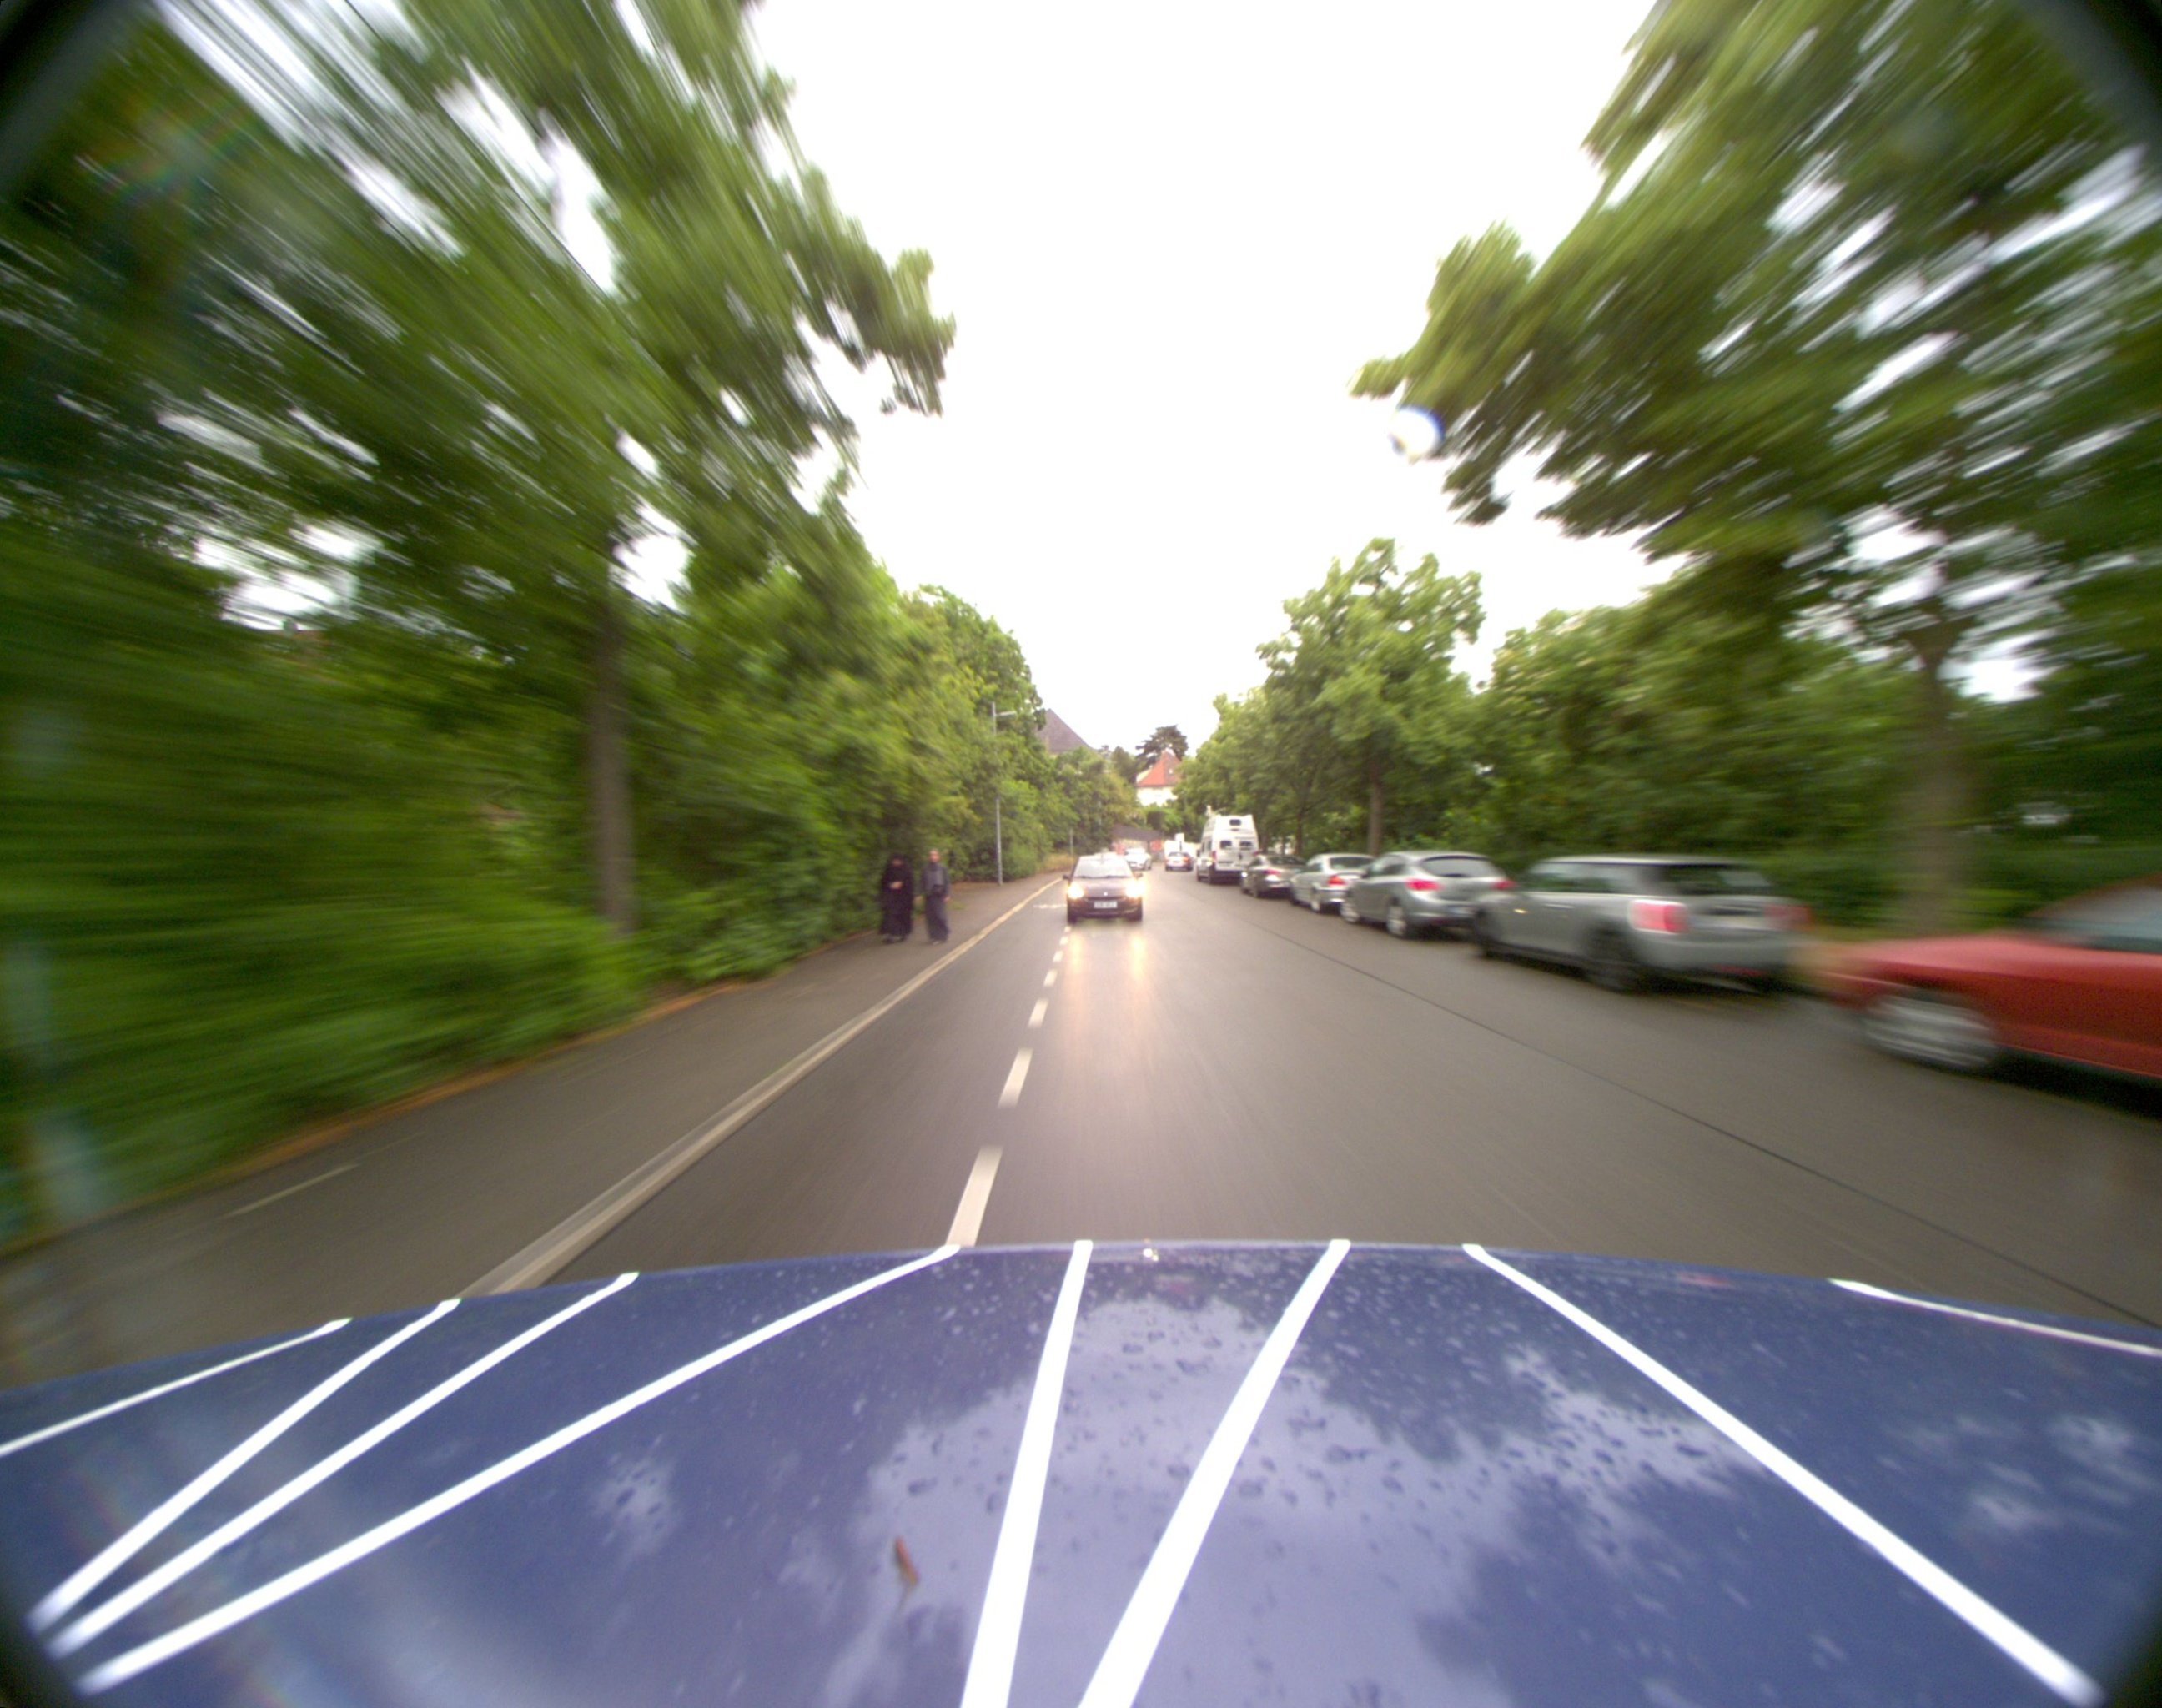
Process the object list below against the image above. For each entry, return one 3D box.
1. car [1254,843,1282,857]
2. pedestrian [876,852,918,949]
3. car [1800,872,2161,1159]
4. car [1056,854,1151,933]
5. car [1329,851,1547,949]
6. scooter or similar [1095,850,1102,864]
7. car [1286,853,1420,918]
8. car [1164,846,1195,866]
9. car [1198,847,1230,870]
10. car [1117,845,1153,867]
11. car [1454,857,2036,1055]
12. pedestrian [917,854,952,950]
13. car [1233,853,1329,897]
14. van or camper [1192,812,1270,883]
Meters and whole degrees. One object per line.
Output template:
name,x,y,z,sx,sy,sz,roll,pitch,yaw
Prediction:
car,20.581,-0.447,83.493,1.655,1.421,4.384,3,1,31
pedestrian,-3.067,0.752,12.694,0.597,1.557,0.668,0,1,-7
car,6.279,0.866,3.780,1.599,1.354,4.000,-1,1,0
car,0.477,0.782,17.121,1.804,1.418,4.382,-2,1,1
car,6.238,0.701,14.011,1.998,1.397,4.714,0,1,3
scooter or similar,1.422,0.257,62.441,0.346,1.111,1.423,1,2,9
car,6.594,0.691,19.012,1.998,1.397,4.715,0,0,5
car,7.408,0.144,56.866,1.886,1.394,4.259,0,1,12
car,9.159,0.246,52.244,1.957,1.453,4.579,2,1,12
car,4.152,0.123,57.880,2.028,1.619,4.231,0,1,14
car,6.309,0.799,8.235,1.999,1.397,4.711,0,1,-3
pedestrian,-2.444,0.790,12.672,0.554,1.558,0.486,0,2,-10
car,6.497,0.621,25.383,1.998,1.301,5.356,1,0,3
van or camper,6.900,-0.346,35.757,2.511,3.010,6.560,0,1,2
